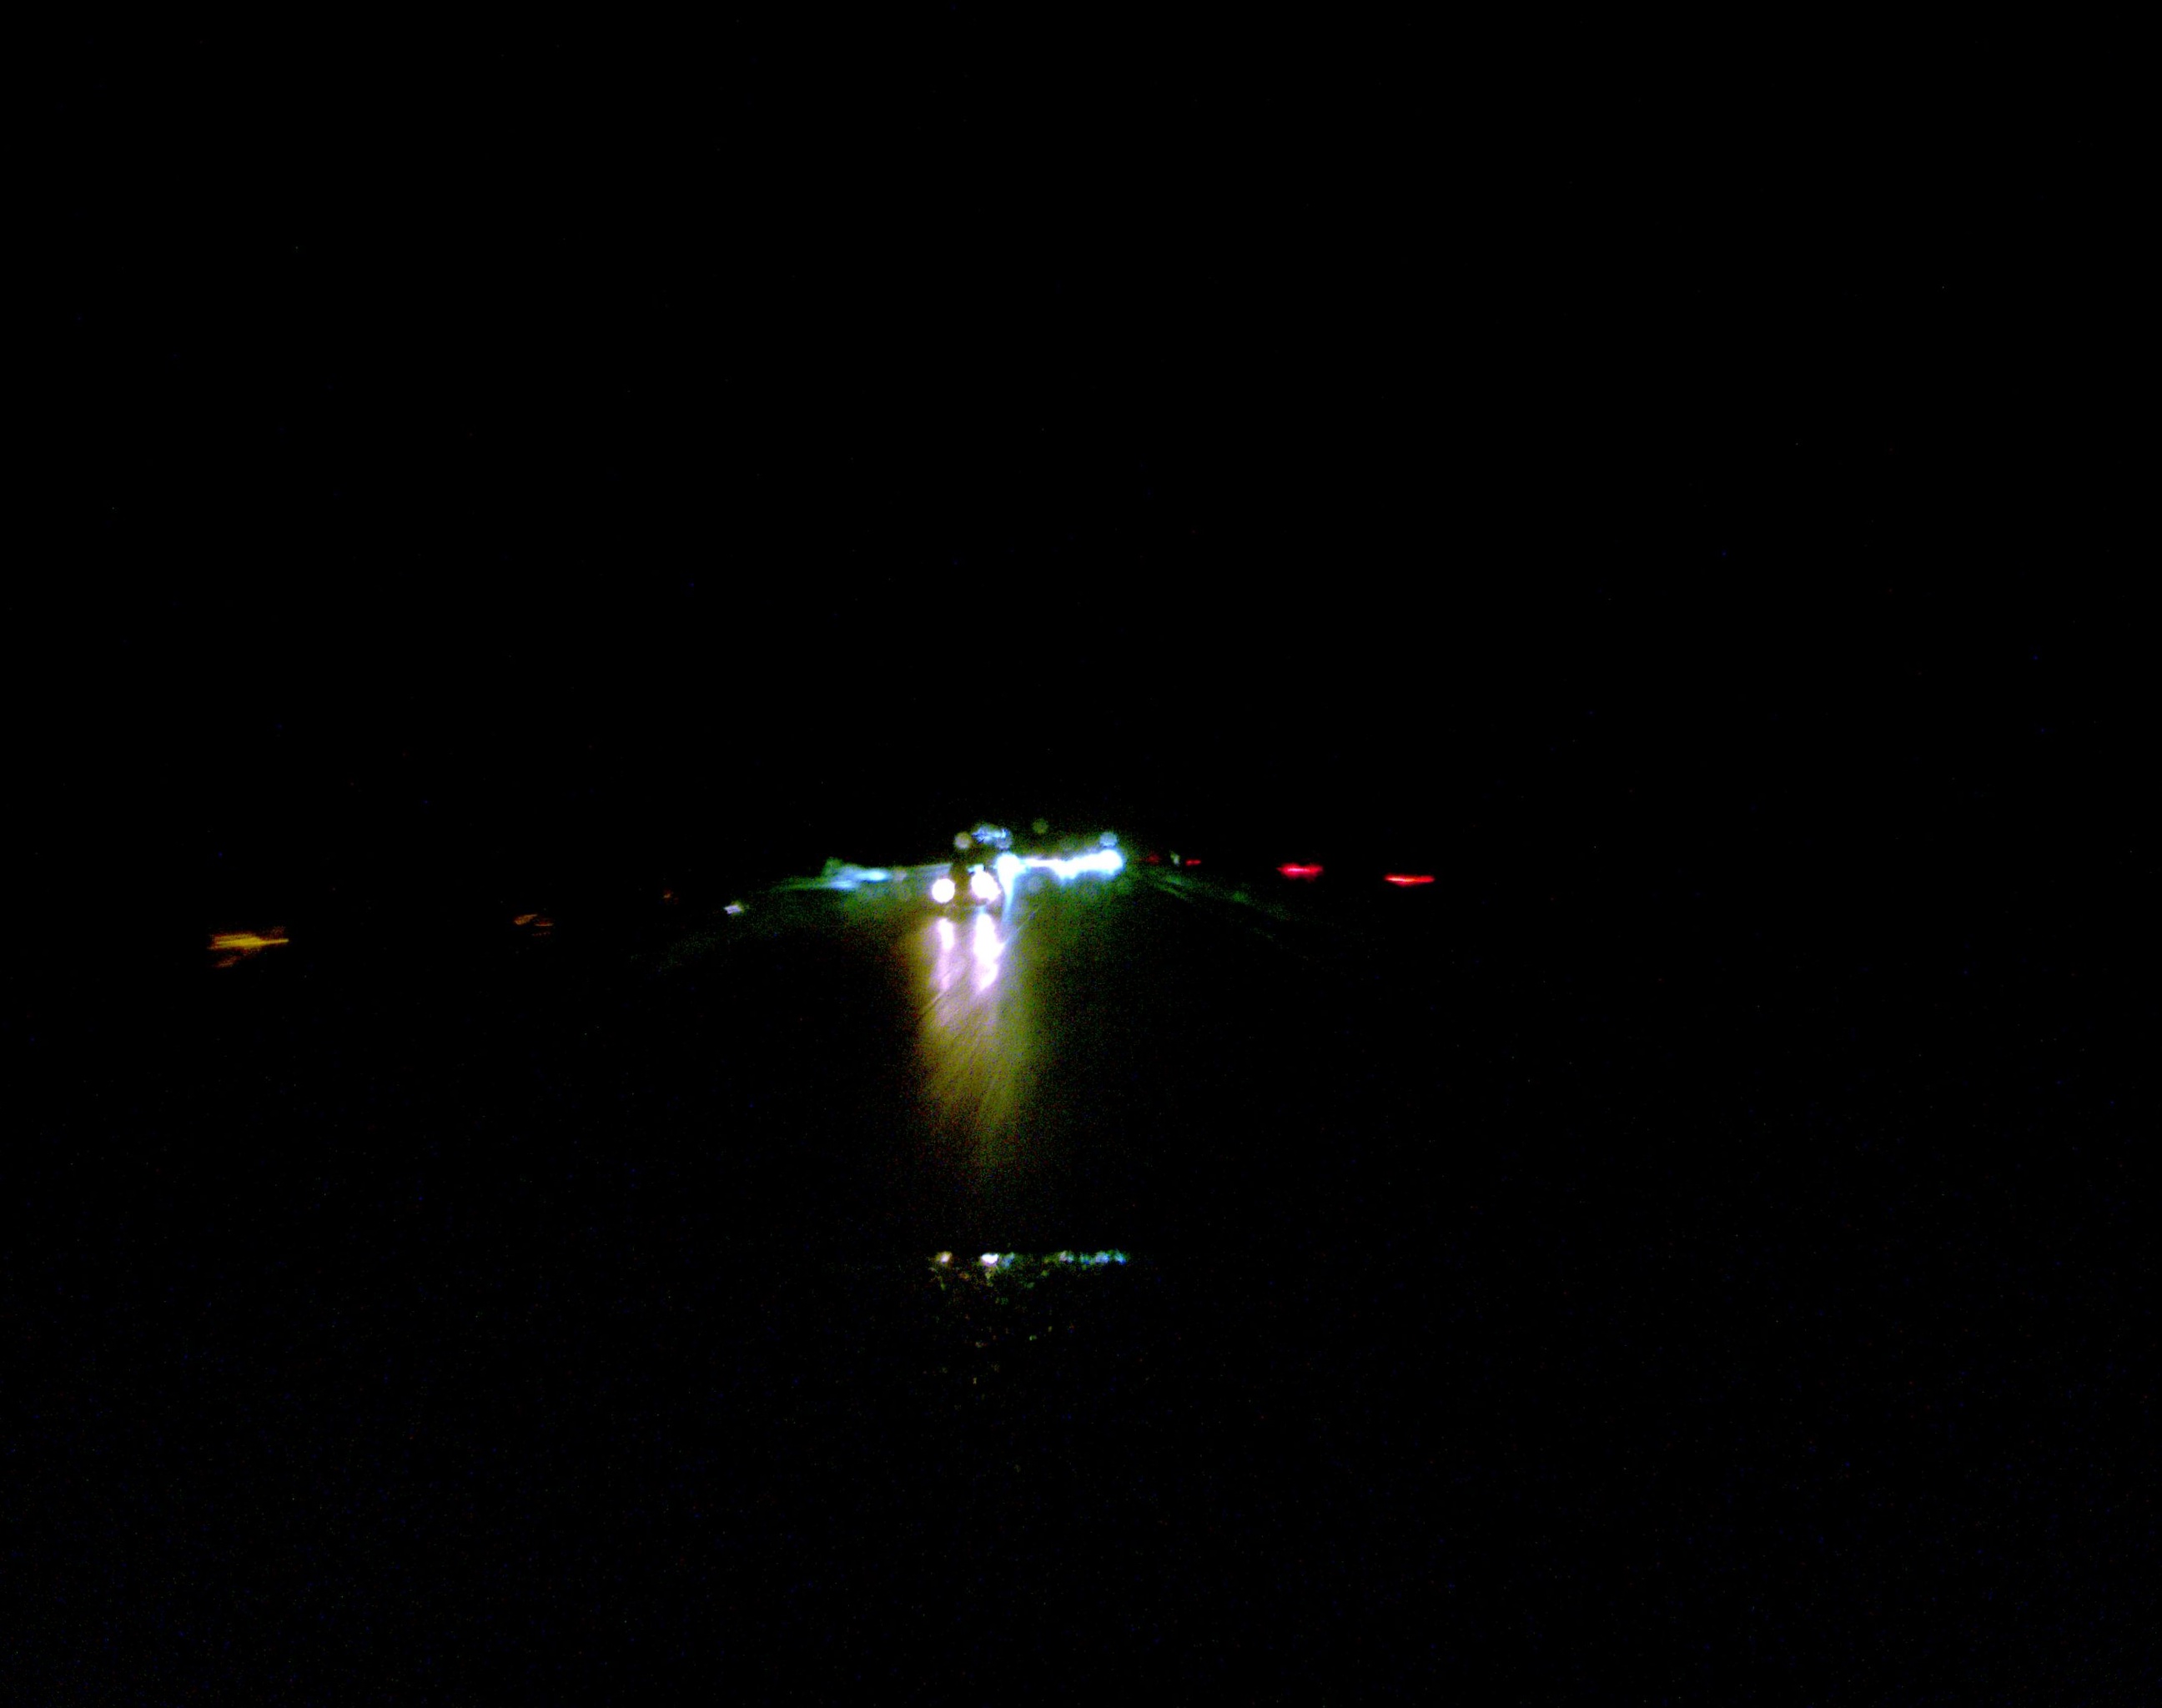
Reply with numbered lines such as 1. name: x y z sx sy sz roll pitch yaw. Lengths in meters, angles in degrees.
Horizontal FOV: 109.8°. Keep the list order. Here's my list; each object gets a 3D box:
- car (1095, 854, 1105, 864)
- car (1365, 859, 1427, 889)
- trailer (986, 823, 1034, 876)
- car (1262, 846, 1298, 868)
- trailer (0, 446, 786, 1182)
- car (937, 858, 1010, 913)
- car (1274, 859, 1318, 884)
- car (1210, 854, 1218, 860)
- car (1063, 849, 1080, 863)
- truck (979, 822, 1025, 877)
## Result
1. car: 3.164 0.855 126.215 1.619 1.452 3.767 -2 1 1
2. car: 17.281 1.061 41.946 1.695 1.499 4.272 1 0 1
3. trailer: -6.137 -0.408 67.222 2.753 4.168 11.179 -2 0 1
4. car: 22.728 0.376 86.925 2.387 2.429 7.148 1 0 1
5. trailer: -7.320 -0.227 7.684 2.872 4.074 13.641 -2 1 2
6. car: -3.329 0.948 24.143 1.619 1.494 3.767 -2 1 2
7. car: 13.323 1.051 47.238 1.738 1.499 3.795 1 0 1
8. car: 38.558 0.869 220.329 1.786 1.471 4.509 1 0 1
9. car: -1.125 0.247 91.555 1.945 1.521 4.000 -2 1 1
10. truck: -6.285 -0.366 61.250 2.778 4.168 6.016 -2 0 1
